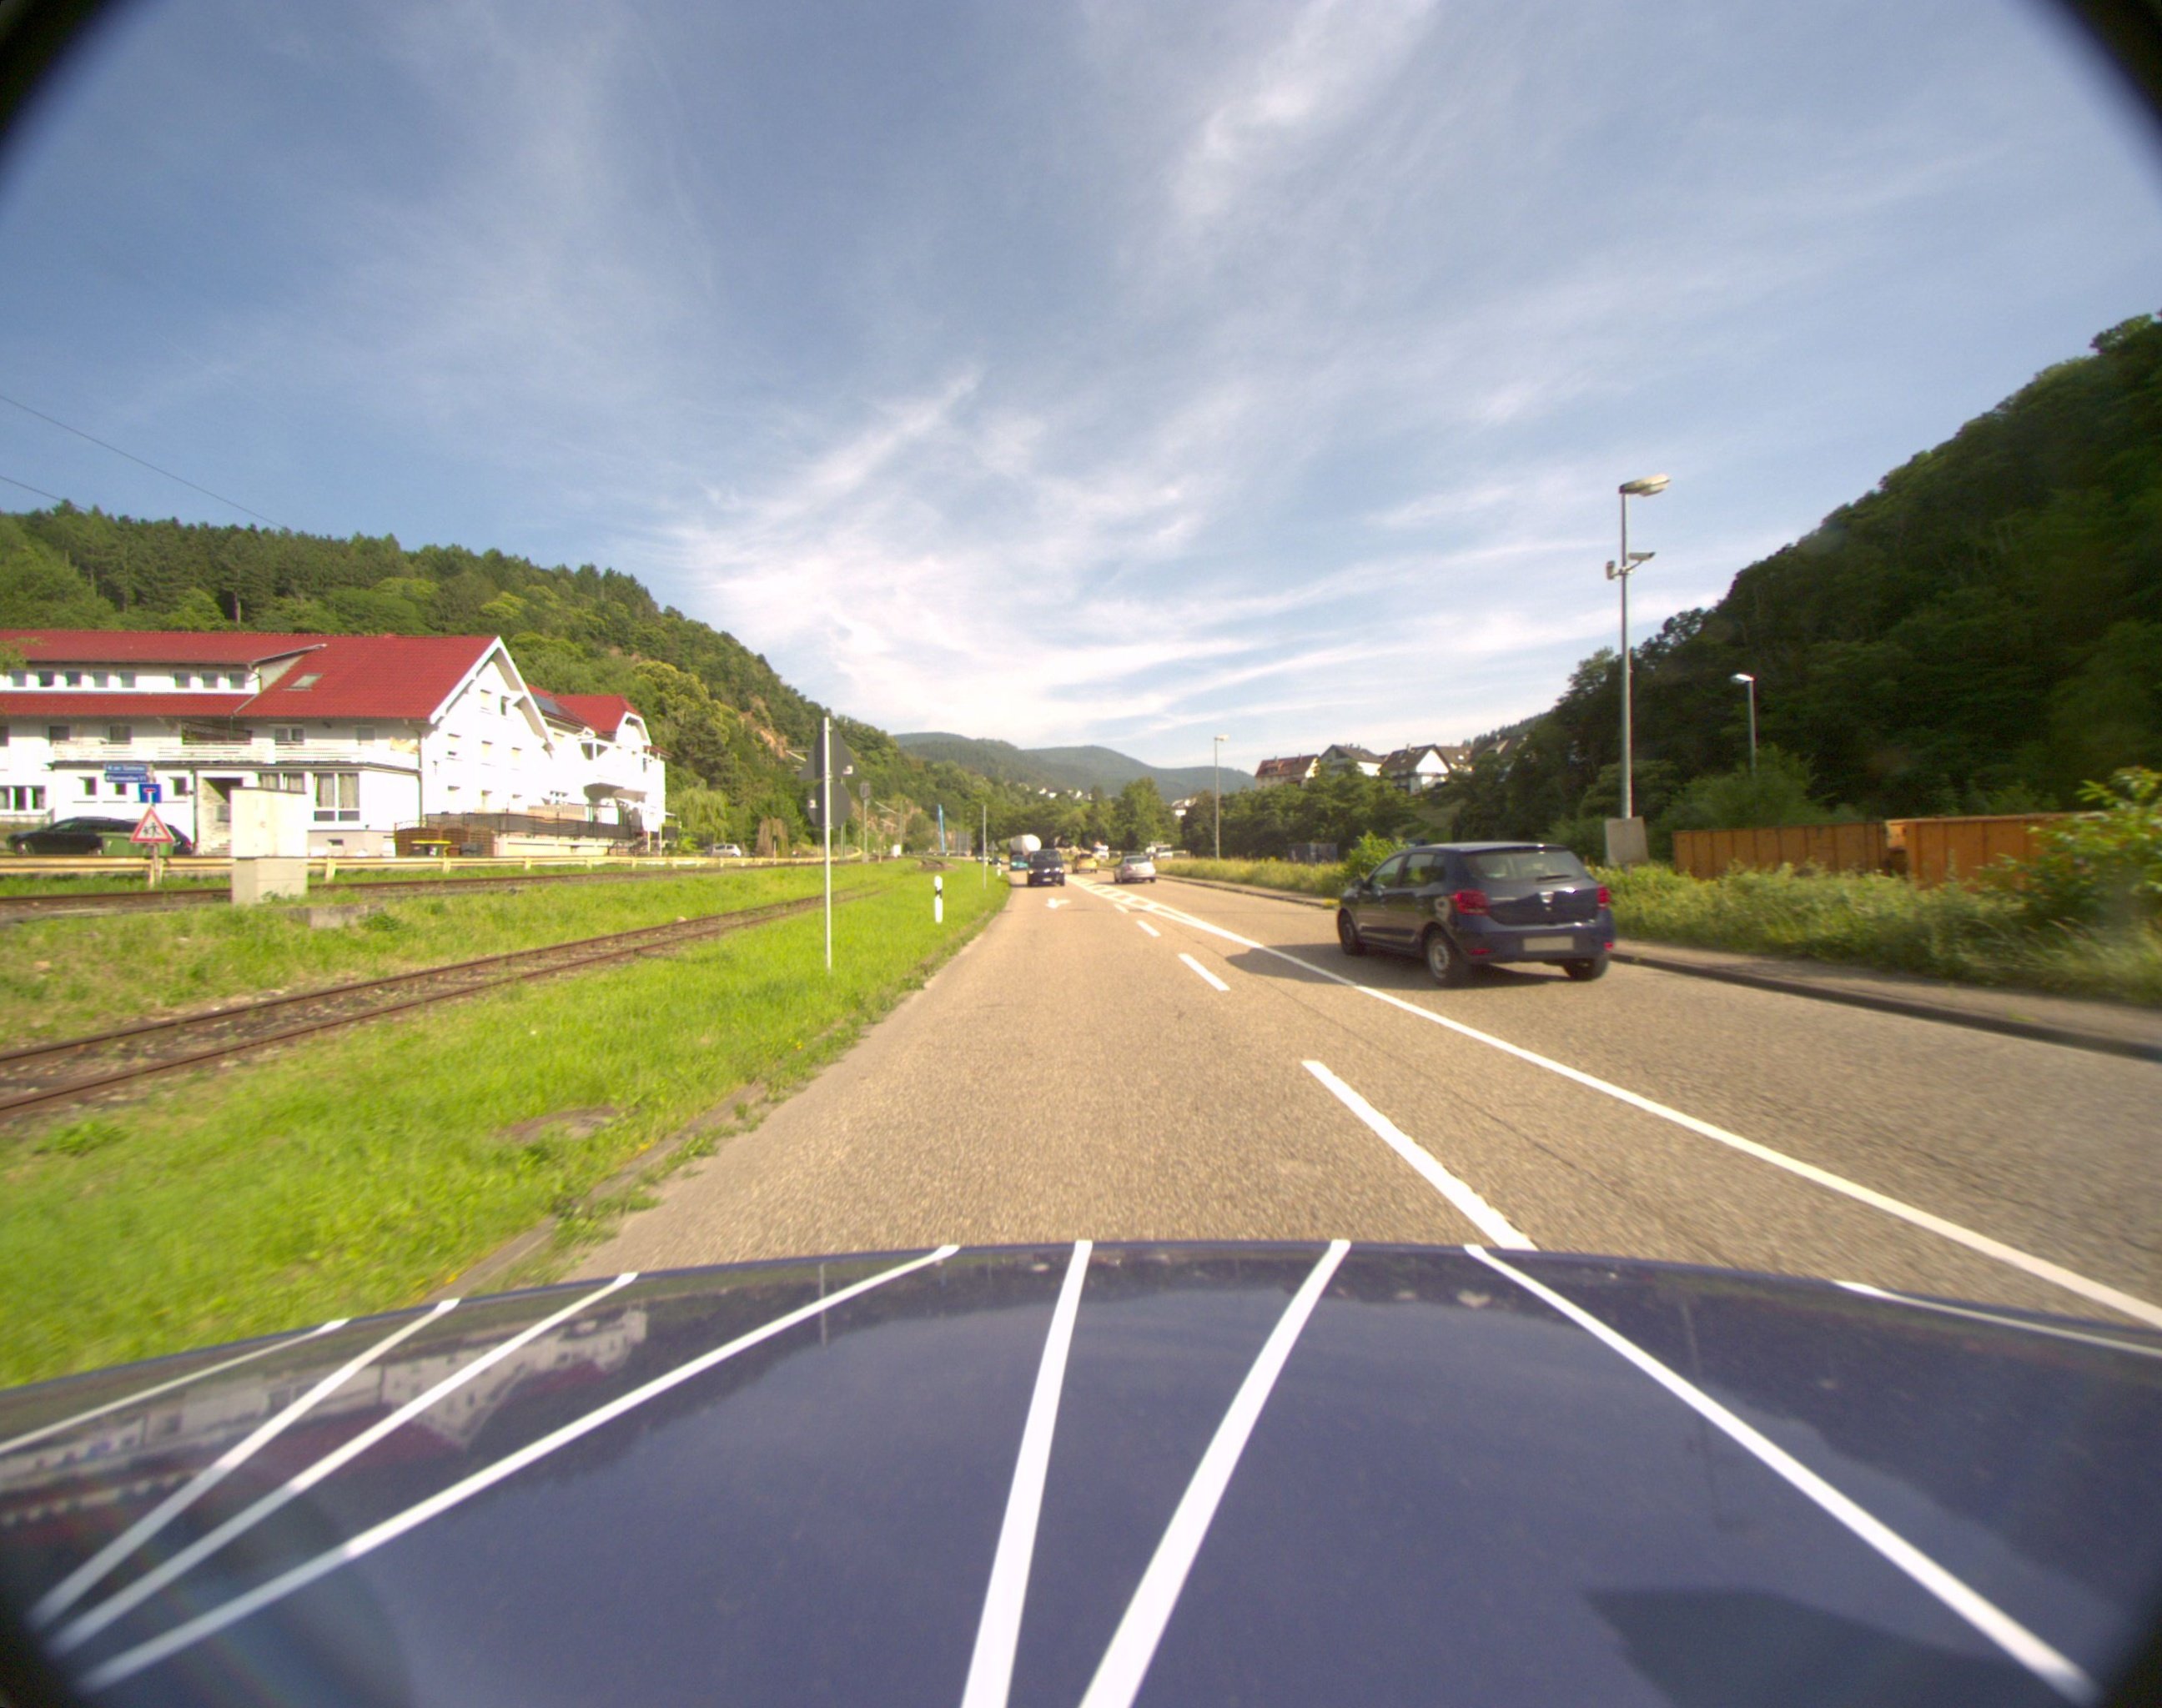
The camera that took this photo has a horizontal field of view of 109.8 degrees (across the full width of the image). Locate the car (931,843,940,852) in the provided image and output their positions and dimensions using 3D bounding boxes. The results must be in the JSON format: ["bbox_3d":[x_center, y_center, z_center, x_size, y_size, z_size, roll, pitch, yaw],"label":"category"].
[{"bbox_3d":[-35.819,-1.630,186.816,2.001,2.002,3.994,1,0,-14],"label":"car"}]

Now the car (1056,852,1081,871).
[{"bbox_3d":[-1.283,0.709,75.550,1.999,1.748,4.466,-3,1,-6],"label":"car"}]

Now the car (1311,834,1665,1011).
[{"bbox_3d":[4.484,0.643,9.294,1.852,1.575,4.315,-3,0,-2],"label":"car"}]

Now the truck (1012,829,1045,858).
[{"bbox_3d":[-7.656,-1.472,109.099,2.759,3.813,14.546,-2,1,-11],"label":"truck"}]

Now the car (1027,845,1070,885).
[{"bbox_3d":[-1.669,0.616,40.361,1.998,2.001,4.001,0,-1,1],"label":"car"}]

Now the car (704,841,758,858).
[{"bbox_3d":[-33.811,-0.453,73.460,4.328,1.521,1.998,1,0,-11],"label":"car"}]

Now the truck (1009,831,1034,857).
[{"bbox_3d":[-9.255,-1.516,117.004,2.759,3.813,8.189,-2,1,-11],"label":"truck"}]

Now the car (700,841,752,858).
[{"bbox_3d":[-33.158,-0.398,70.984,4.001,1.521,1.998,1,0,-11],"label":"car"}]

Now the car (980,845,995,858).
[{"bbox_3d":[-15.785,-0.434,128.488,2.001,2.002,3.994,1,0,-15],"label":"car"}]

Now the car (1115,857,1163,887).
[{"bbox_3d":[2.922,0.904,39.505,1.783,1.340,4.508,-3,0,-4],"label":"car"}]

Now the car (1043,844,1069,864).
[{"bbox_3d":[-2.724,-0.019,81.514,2.001,2.002,3.995,1,0,-12],"label":"car"}]

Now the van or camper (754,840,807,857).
[{"bbox_3d":[-35.822,-0.639,90.654,5.433,1.918,2.119,1,1,-5],"label":"van or camper"}]

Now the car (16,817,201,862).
[{"bbox_3d":[-34.024,-0.489,26.686,3.998,1.368,1.825,2,0,-2],"label":"car"}]

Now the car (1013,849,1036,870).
[{"bbox_3d":[-5.628,0.542,75.472,2.000,2.002,3.997,1,0,-7],"label":"car"}]

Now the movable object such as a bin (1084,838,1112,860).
[{"bbox_3d":[3.103,-0.925,139.475,2.733,3.924,7.216,1,1,-19],"label":"movable object such as a bin"}]

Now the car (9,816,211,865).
[{"bbox_3d":[-30.445,-0.418,23.915,3.997,1.368,1.825,2,0,0],"label":"car"}]

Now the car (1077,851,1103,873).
[{"bbox_3d":[0.646,0.596,59.060,1.728,1.615,3.795,-2,0,-3],"label":"car"}]

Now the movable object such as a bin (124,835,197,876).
[{"bbox_3d":[-24.989,0.038,20.648,0.810,1.044,0.911,-3,0,-2],"label":"movable object such as a bin"}]

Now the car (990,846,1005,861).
[{"bbox_3d":[-12.102,-0.072,109.859,2.000,2.002,3.996,1,0,-9],"label":"car"}]

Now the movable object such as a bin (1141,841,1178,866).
[{"bbox_3d":[12.567,-0.177,122.966,2.910,3.924,7.795,1,1,-19],"label":"movable object such as a bin"}]

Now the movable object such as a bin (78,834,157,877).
[{"bbox_3d":[-24.871,0.044,19.636,0.810,1.044,0.911,-3,0,-2],"label":"movable object such as a bin"}]
